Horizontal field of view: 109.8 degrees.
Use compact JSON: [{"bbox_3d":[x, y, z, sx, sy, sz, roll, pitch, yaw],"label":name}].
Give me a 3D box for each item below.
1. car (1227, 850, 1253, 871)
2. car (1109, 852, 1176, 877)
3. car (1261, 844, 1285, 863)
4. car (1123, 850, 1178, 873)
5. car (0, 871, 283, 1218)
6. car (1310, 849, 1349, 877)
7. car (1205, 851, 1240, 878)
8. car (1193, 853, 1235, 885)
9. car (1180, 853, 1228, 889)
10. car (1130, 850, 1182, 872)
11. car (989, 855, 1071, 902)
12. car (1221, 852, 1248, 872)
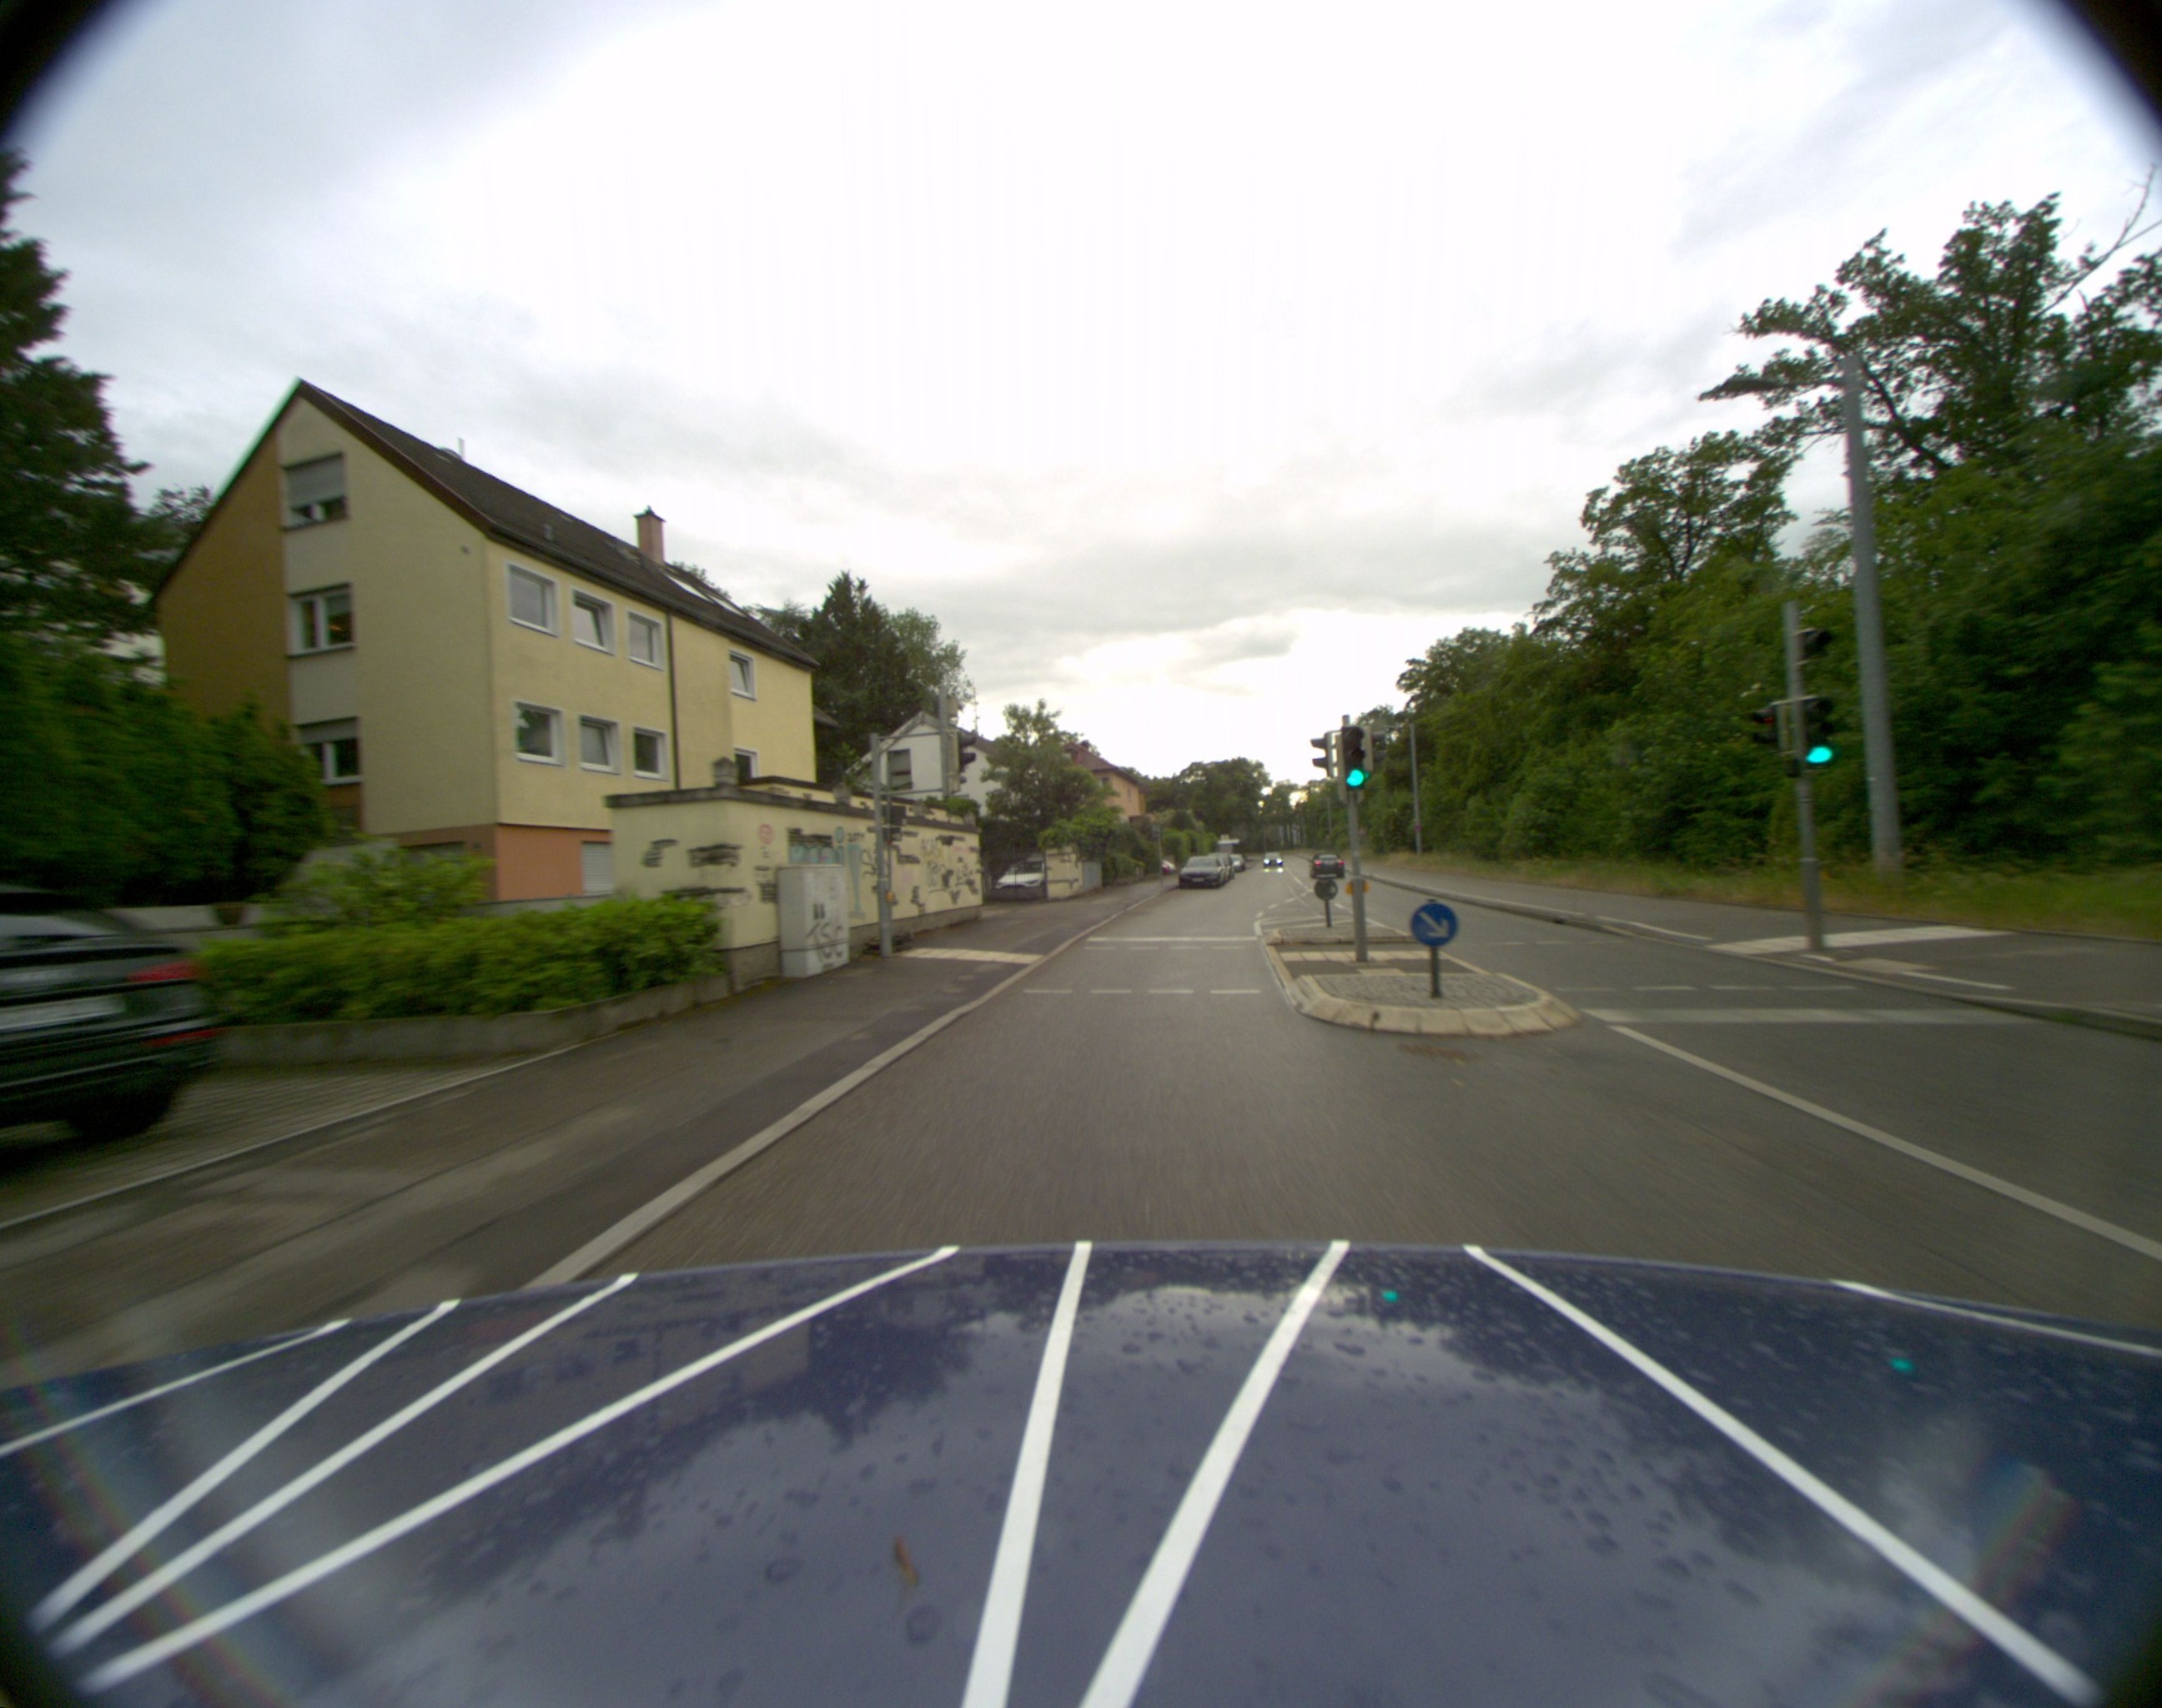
[{"bbox_3d":[14.006,0.544,66.654,1.832,1.538,4.634,-2,1,16],"label":"car"},{"bbox_3d":[4.194,0.718,51.946,4.251,1.452,1.884,-2,1,14],"label":"car"},{"bbox_3d":[18.495,-0.071,73.090,1.996,1.714,4.005,-2,0,16],"label":"car"},{"bbox_3d":[4.939,0.548,53.887,3.663,1.557,1.884,-1,1,14],"label":"car"},{"bbox_3d":[-7.254,1.098,3.924,4.337,1.586,1.993,-5,0,6],"label":"car"},{"bbox_3d":[14.186,0.483,43.557,1.746,1.451,4.418,-2,1,13],"label":"car"},{"bbox_3d":[8.738,0.606,46.609,1.732,1.558,4.527,-2,0,15],"label":"car"},{"bbox_3d":[7.182,0.774,40.705,1.795,1.478,4.499,-2,1,14],"label":"car"},{"bbox_3d":[5.813,0.752,35.535,1.754,1.435,4.605,-2,1,15],"label":"car"},{"bbox_3d":[5.650,0.524,56.803,3.663,1.527,1.830,1,1,12],"label":"car"},{"bbox_3d":[-1.988,0.935,31.013,1.935,1.587,4.346,-3,1,15],"label":"car"},{"bbox_3d":[12.502,0.629,61.640,1.815,1.390,4.106,-2,1,16],"label":"car"}]
